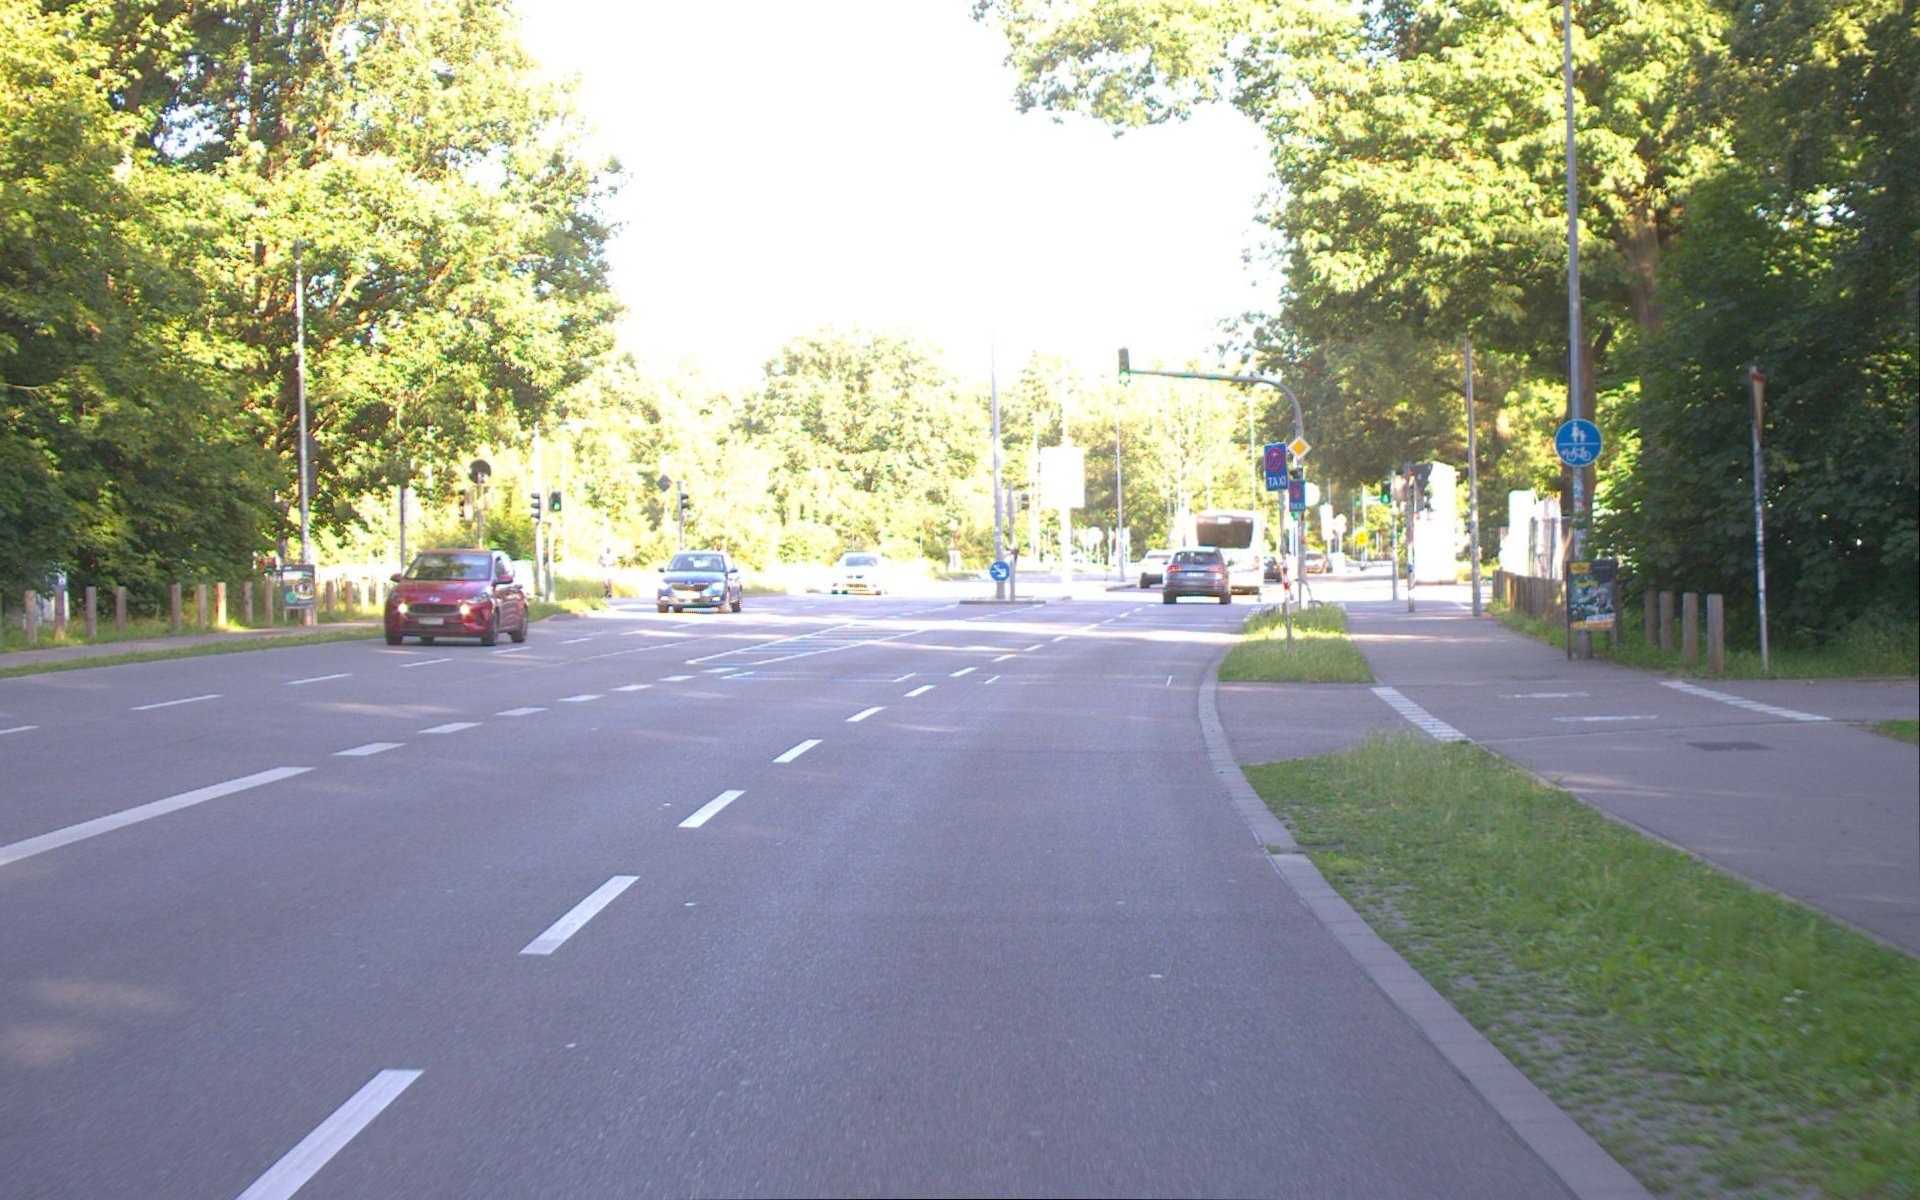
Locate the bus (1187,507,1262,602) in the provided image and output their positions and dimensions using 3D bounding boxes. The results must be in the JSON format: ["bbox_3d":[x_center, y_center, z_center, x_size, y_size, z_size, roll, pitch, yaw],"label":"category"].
[{"bbox_3d":[9.759,-1.703,126.194,2.605,3.357,7.974,0,1,5],"label":"bus"}]

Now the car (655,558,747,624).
[{"bbox_3d":[-6.190,-0.237,82.571,1.656,1.503,4.000,-1,1,4],"label":"car"}]

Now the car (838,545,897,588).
[{"bbox_3d":[-3.202,-1.178,119.530,1.711,1.459,4.100,1,1,3],"label":"car"}]

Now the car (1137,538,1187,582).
[{"bbox_3d":[8.338,-1.662,141.685,1.880,1.759,3.999,-1,1,5],"label":"car"}]

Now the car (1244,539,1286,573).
[{"bbox_3d":[15.757,-2.301,177.424,1.863,1.678,3.771,-1,1,9],"label":"car"}]

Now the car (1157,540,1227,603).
[{"bbox_3d":[6.721,-0.843,99.359,1.880,1.759,3.999,-1,1,5],"label":"car"}]

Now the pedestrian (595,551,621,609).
[{"bbox_3d":[-11.486,-0.651,112.199,0.612,1.903,1.106,-1,0,5],"label":"pedestrian"}]

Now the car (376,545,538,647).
[{"bbox_3d":[-7.810,-0.089,53.667,1.663,1.513,3.806,-1,1,5],"label":"car"}]
